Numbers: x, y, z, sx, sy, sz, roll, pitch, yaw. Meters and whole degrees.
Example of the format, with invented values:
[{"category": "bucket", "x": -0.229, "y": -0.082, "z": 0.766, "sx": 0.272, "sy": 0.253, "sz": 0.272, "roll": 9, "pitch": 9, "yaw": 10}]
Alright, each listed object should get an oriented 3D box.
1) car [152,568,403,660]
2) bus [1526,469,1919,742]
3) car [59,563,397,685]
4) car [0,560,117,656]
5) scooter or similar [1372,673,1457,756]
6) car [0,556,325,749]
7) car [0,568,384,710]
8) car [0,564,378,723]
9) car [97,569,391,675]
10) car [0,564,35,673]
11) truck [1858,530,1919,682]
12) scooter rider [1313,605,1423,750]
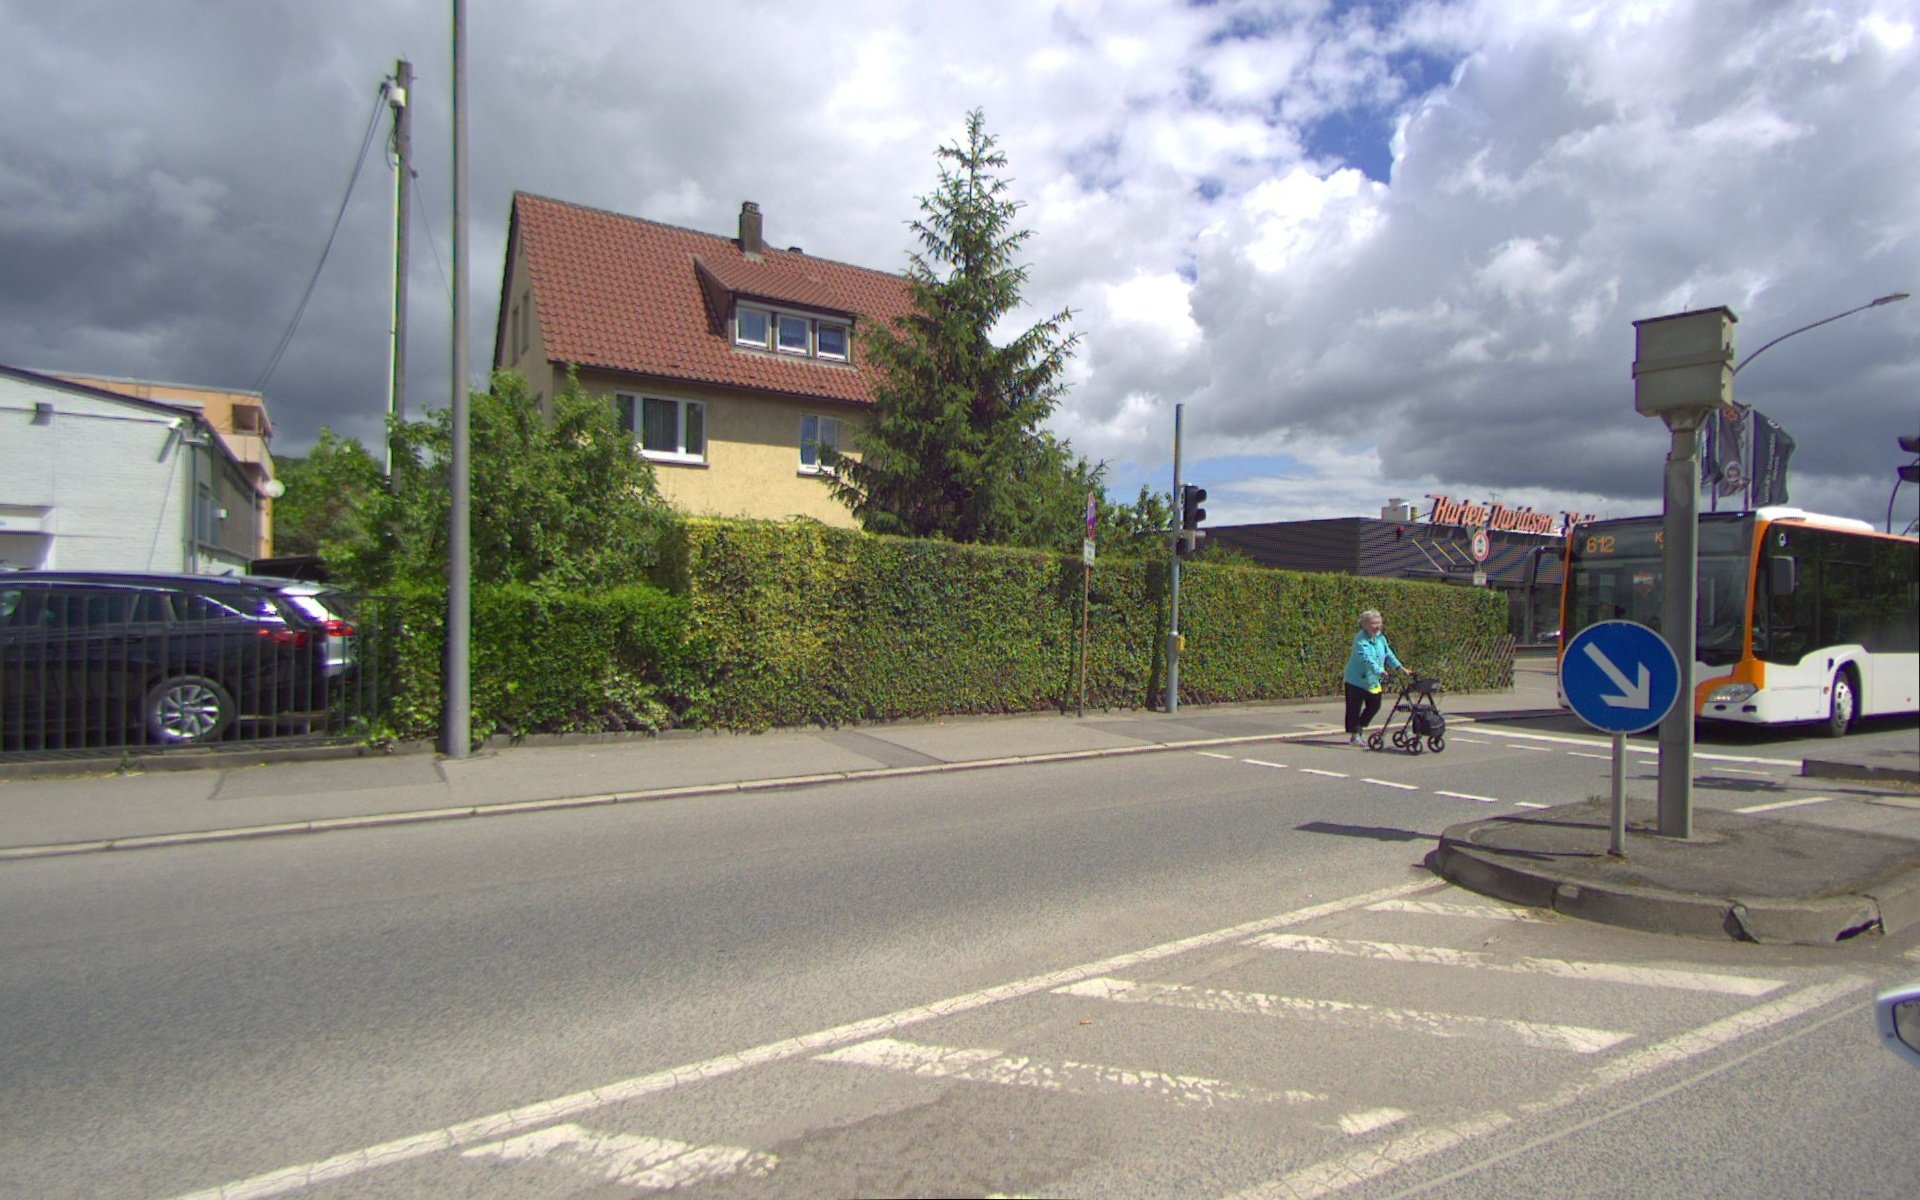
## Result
[{"category": "car", "x": -13.420, "y": 0.288, "z": 19.922, "sx": 3.963, "sy": 1.639, "sz": 1.763, "roll": 1, "pitch": -1, "yaw": -37}, {"category": "bus", "x": 14.044, "y": 0.235, "z": 16.418, "sx": 11.982, "sy": 3.309, "sz": 2.764, "roll": 2, "pitch": -1, "yaw": -31}, {"category": "car", "x": -10.973, "y": 0.365, "z": 15.398, "sx": 3.959, "sy": 1.639, "sz": 1.765, "roll": 1, "pitch": -1, "yaw": -34}, {"category": "car", "x": -17.435, "y": 0.118, "z": 17.578, "sx": 3.963, "sy": 1.639, "sz": 1.763, "roll": 1, "pitch": -1, "yaw": -37}, {"category": "scooter or similar", "x": 5.080, "y": 1.259, "z": 11.230, "sx": 0.652, "sy": 0.843, "sz": 0.608, "roll": 1, "pitch": -1, "yaw": -31}, {"category": "car", "x": -8.125, "y": 0.414, "z": 8.836, "sx": 4.224, "sy": 1.527, "sz": 2.140, "roll": 1, "pitch": -1, "yaw": -35}, {"category": "car", "x": -10.015, "y": 0.487, "z": 13.375, "sx": 3.959, "sy": 1.639, "sz": 1.765, "roll": 1, "pitch": -1, "yaw": -34}, {"category": "car", "x": -8.964, "y": 0.436, "z": 11.124, "sx": 4.224, "sy": 1.527, "sz": 2.140, "roll": 1, "pitch": 0, "yaw": -35}, {"category": "car", "x": -12.277, "y": 0.375, "z": 17.447, "sx": 3.963, "sy": 1.639, "sz": 1.763, "roll": 1, "pitch": -1, "yaw": -37}, {"category": "car", "x": -16.319, "y": 0.238, "z": 14.645, "sx": 3.963, "sy": 1.639, "sz": 1.763, "roll": 1, "pitch": -1, "yaw": -37}, {"category": "truck", "x": 30.093, "y": 0.283, "z": 30.519, "sx": 9.068, "sy": 4.186, "sz": 2.410, "roll": 2, "pitch": 2, "yaw": -38}, {"category": "scooter rider", "x": 4.768, "y": 0.872, "z": 11.756, "sx": 0.787, "sy": 1.611, "sz": 0.873, "roll": 1, "pitch": 0, "yaw": -31}]
